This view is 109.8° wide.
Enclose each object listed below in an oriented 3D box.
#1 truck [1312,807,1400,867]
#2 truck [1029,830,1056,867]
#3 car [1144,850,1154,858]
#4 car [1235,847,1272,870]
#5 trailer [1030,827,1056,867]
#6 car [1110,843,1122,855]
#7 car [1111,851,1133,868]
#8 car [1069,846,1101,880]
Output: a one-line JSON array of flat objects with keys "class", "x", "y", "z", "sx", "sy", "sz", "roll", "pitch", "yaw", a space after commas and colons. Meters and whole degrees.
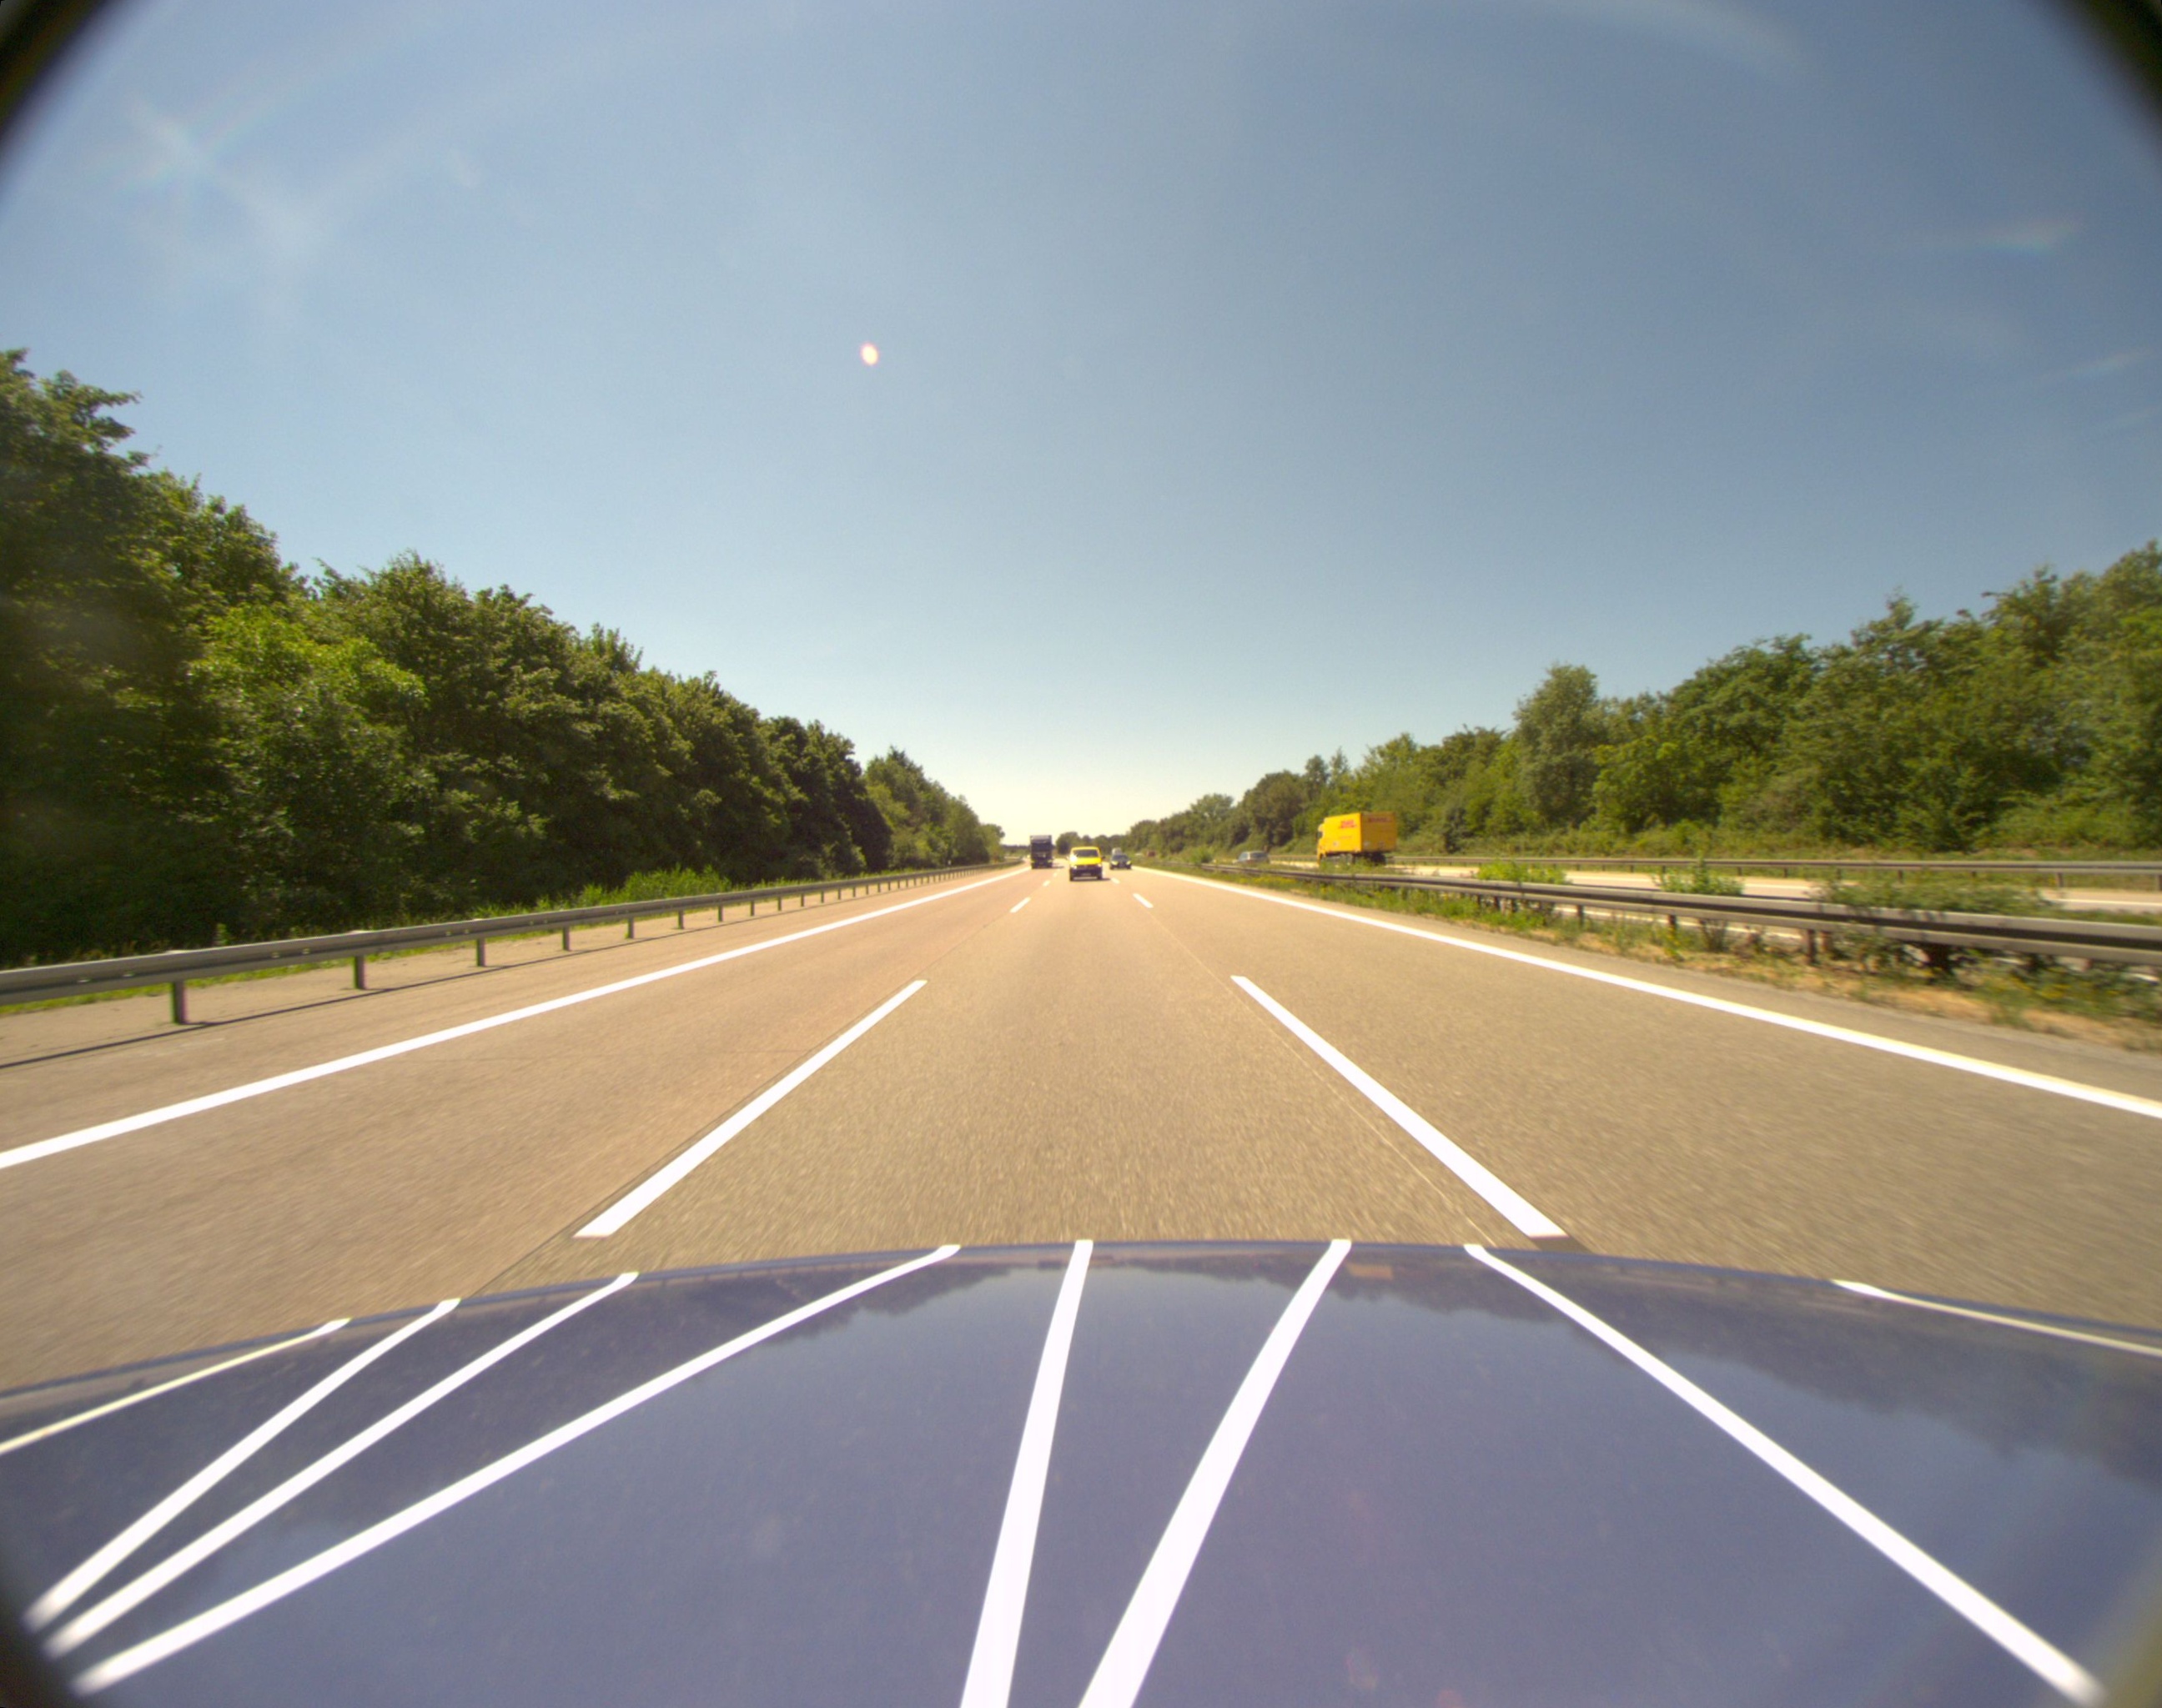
[{"class": "truck", "x": 20.608, "y": -1.264, "z": 57.809, "sx": 2.756, "sy": 4.017, "sz": 10.790, "roll": -2, "pitch": 1, "yaw": 0}, {"class": "truck", "x": -4.600, "y": -0.666, "z": 90.759, "sx": 2.916, "sy": 4.231, "sz": 4.974, "roll": -2, "pitch": 1, "yaw": -1}, {"class": "car", "x": 15.975, "y": -0.062, "z": 178.604, "sx": 1.708, "sy": 1.766, "sz": 4.766, "roll": -2, "pitch": 0, "yaw": -1}, {"class": "car", "x": 12.608, "y": 0.333, "z": 55.662, "sx": 1.786, "sy": 1.562, "sz": 3.980, "roll": -1, "pitch": 0, "yaw": 0}, {"class": "trailer", "x": -4.777, "y": -0.893, "z": 98.136, "sx": 2.909, "sy": 4.630, "sz": 13.983, "roll": -2, "pitch": 0, "yaw": -1}, {"class": "car", "x": 8.494, "y": -1.151, "z": 182.978, "sx": 2.094, "sy": 2.762, "sz": 5.826, "roll": -2, "pitch": 0, "yaw": -4}, {"class": "car", "x": 3.761, "y": 0.526, "z": 70.104, "sx": 1.726, "sy": 1.478, "sz": 3.999, "roll": -1, "pitch": 0, "yaw": 0}, {"class": "car", "x": 0.207, "y": 0.486, "z": 44.313, "sx": 1.777, "sy": 1.882, "sz": 3.832, "roll": -1, "pitch": 1, "yaw": -1}]
